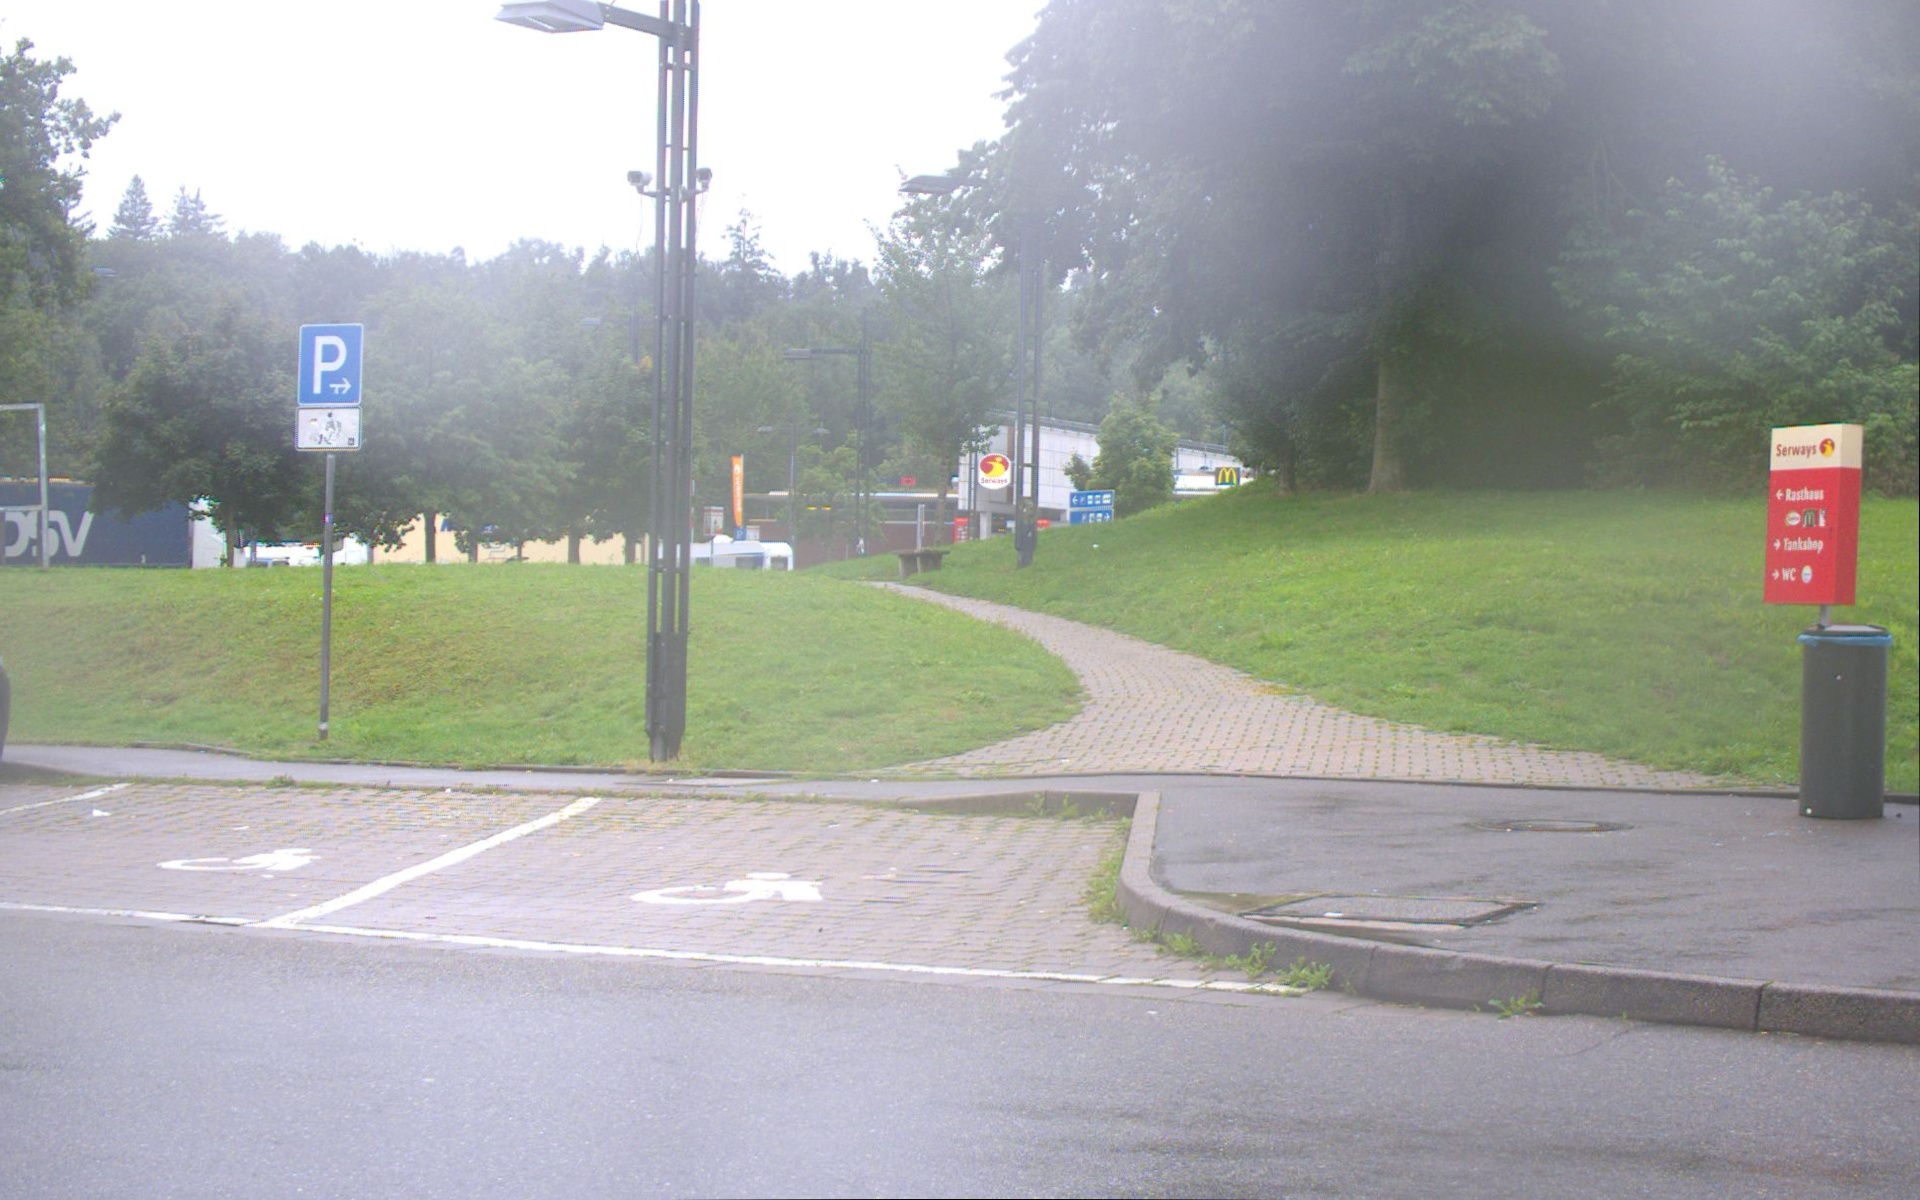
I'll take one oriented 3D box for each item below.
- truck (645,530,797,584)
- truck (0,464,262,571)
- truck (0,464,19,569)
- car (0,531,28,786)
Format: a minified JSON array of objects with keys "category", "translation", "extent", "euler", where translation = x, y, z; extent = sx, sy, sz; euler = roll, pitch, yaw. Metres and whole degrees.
[{"category":"truck","translation":[-9.316,-1.666,133.827],"extent":[5.413,2.007,2.364],"euler":[1,1,25]},{"category":"truck","translation":[-25.455,-2.367,101.650],"extent":[2.188,2.910,13.082],"euler":[1,1,24]},{"category":"truck","translation":[-28.594,-2.341,94.680],"extent":[2.189,2.910,5.380],"euler":[1,1,24]},{"category":"car","translation":[-7.797,0.455,21.512],"extent":[2.018,1.705,4.341],"euler":[-1,1,12]}]
